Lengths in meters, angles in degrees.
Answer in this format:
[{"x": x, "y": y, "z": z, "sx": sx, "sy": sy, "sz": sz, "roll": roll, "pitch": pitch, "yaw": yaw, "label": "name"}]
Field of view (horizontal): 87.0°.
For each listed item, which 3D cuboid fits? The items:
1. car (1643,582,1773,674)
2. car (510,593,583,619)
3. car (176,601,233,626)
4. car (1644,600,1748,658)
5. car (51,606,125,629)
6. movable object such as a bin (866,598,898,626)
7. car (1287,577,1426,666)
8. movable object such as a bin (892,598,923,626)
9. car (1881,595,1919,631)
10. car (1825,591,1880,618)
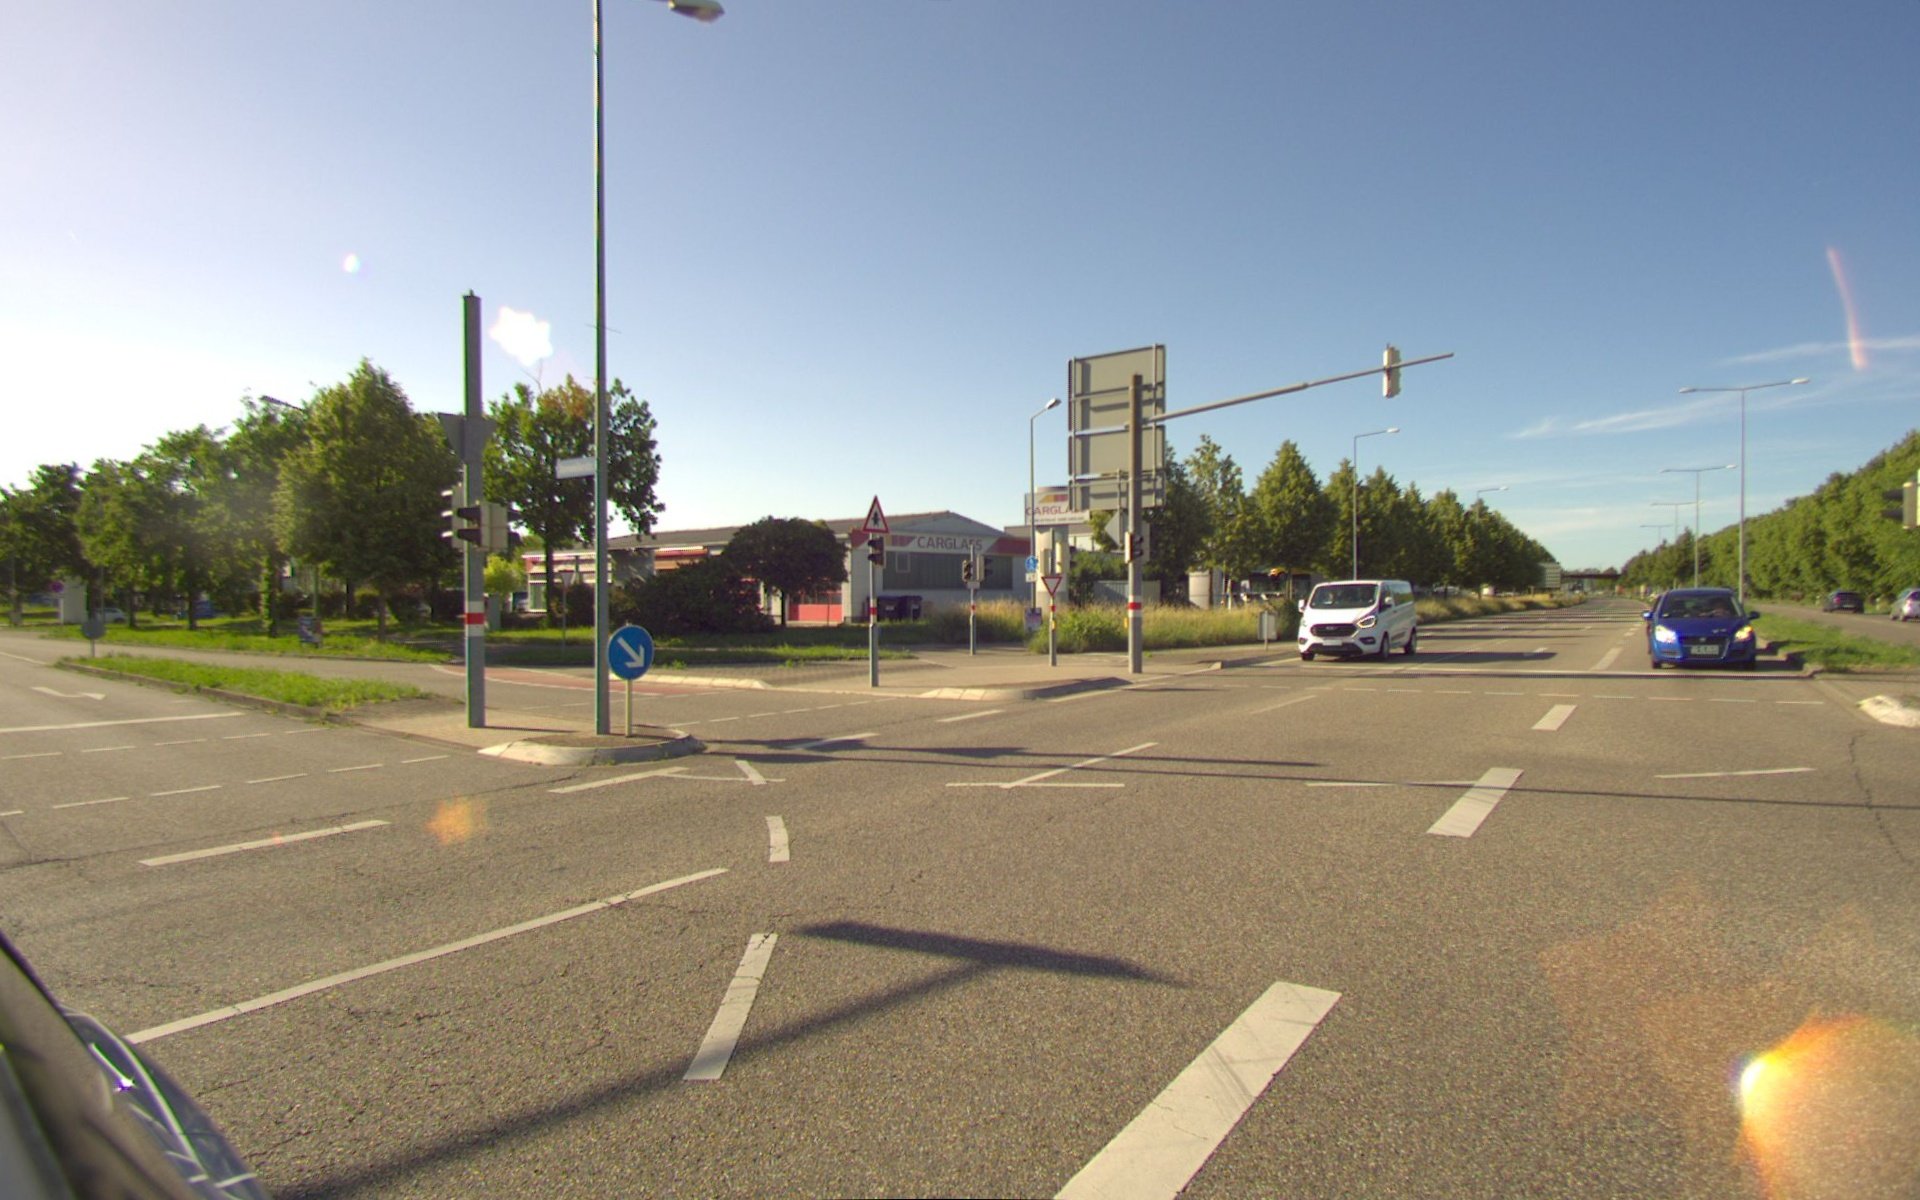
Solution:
[{"x": 14.991, "y": 0.529, "z": 20.415, "sx": 1.889, "sy": 1.656, "sz": 3.991, "roll": -2, "pitch": -1, "yaw": 35, "label": "car"}, {"x": -28.579, "y": 0.388, "z": 69.999, "sx": 1.996, "sy": 1.599, "sz": 4.186, "roll": -1, "pitch": 2, "yaw": 40, "label": "car"}, {"x": -67.711, "y": 1.156, "z": 90.720, "sx": 3.938, "sy": 2.028, "sz": 2.003, "roll": -3, "pitch": 2, "yaw": -40, "label": "car"}, {"x": 17.915, "y": 0.672, "z": 24.739, "sx": 1.889, "sy": 1.284, "sz": 3.991, "roll": -2, "pitch": -1, "yaw": 35, "label": "car"}, {"x": -70.066, "y": 1.400, "z": 81.367, "sx": 4.427, "sy": 1.719, "sz": 2.002, "roll": 0, "pitch": 0, "yaw": -44, "label": "car"}, {"x": -3.672, "y": 0.562, "z": 47.803, "sx": 0.992, "sy": 1.308, "sz": 1.116, "roll": -1, "pitch": 0, "yaw": 41, "label": "movable object such as a bin"}, {"x": 10.115, "y": 0.505, "z": 25.575, "sx": 2.043, "sy": 2.029, "sz": 5.213, "roll": -2, "pitch": -1, "yaw": 35, "label": "car"}, {"x": -2.560, "y": 0.571, "z": 49.258, "sx": 0.992, "sy": 1.308, "sz": 1.116, "roll": -1, "pitch": 0, "yaw": 41, "label": "movable object such as a bin"}, {"x": 44.925, "y": 0.585, "z": 47.344, "sx": 2.043, "sy": 1.628, "sz": 4.366, "roll": -2, "pitch": -1, "yaw": 35, "label": "car"}, {"x": 56.400, "y": 0.275, "z": 64.020, "sx": 2.043, "sy": 1.628, "sz": 4.366, "roll": -2, "pitch": -1, "yaw": 35, "label": "car"}]
